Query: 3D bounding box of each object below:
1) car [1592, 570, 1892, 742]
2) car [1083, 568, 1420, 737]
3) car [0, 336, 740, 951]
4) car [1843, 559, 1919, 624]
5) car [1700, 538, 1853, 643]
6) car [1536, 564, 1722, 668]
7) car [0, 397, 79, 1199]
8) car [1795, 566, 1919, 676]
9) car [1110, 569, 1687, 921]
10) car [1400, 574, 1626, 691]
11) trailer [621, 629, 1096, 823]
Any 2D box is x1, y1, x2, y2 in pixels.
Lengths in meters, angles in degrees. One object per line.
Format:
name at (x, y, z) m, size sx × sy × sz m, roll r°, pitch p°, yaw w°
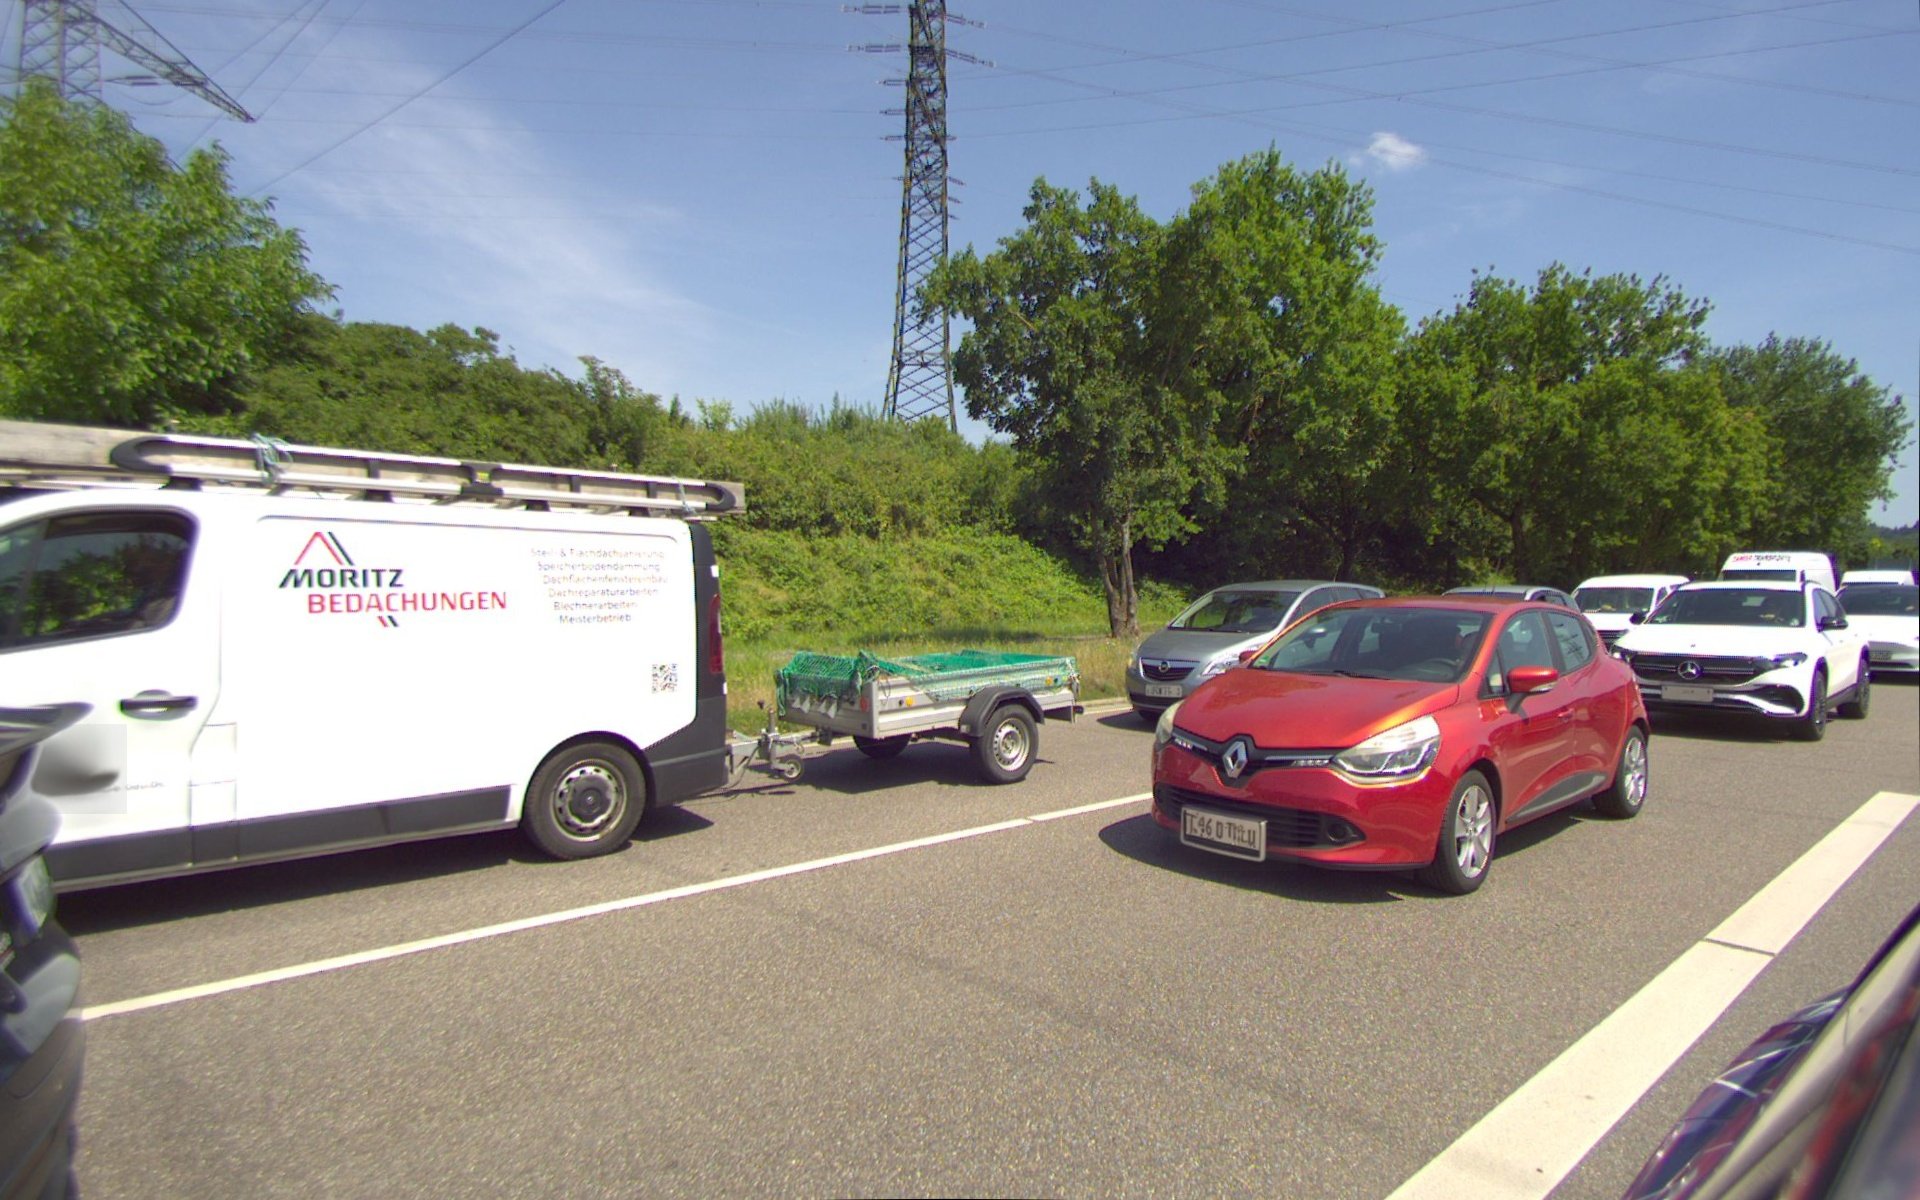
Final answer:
car at (8.943, 0.497, 11.449) m, size 4.286 × 1.588 × 1.849 m, roll 0°, pitch 0°, yaw -40°
car at (3.468, 0.472, 11.688) m, size 4.091 × 1.615 × 1.768 m, roll 0°, pitch 2°, yaw -40°
car at (-3.813, 0.155, 5.108) m, size 4.986 × 2.378 × 1.936 m, roll -1°, pitch 0°, yaw -41°
car at (38.036, -0.354, 41.193) m, size 5.711 × 2.453 × 2.307 m, roll -1°, pitch 0°, yaw -40°
car at (23.317, -0.273, 28.767) m, size 6.896 × 2.640 × 2.231 m, roll 0°, pitch 0°, yaw -41°
car at (13.317, 0.255, 20.020) m, size 4.949 × 1.823 × 1.808 m, roll 0°, pitch 0°, yaw -41°
car at (-3.490, 0.574, 0.611) m, size 4.442 × 1.665 × 1.903 m, roll 0°, pitch 0°, yaw -41°
car at (16.046, 0.309, 17.426) m, size 3.931 × 1.703 × 2.020 m, roll -1°, pitch 0°, yaw -42°
car at (2.887, 0.589, 6.234) m, size 3.994 × 1.480 × 1.745 m, roll 0°, pitch 0°, yaw -41°
car at (8.781, 0.427, 15.936) m, size 4.197 × 1.614 × 1.746 m, roll 0°, pitch 0°, yaw -40°
trailer at (-0.683, 0.806, 7.781) m, size 3.265 × 1.019 × 1.709 m, roll 0°, pitch 1°, yaw -40°
